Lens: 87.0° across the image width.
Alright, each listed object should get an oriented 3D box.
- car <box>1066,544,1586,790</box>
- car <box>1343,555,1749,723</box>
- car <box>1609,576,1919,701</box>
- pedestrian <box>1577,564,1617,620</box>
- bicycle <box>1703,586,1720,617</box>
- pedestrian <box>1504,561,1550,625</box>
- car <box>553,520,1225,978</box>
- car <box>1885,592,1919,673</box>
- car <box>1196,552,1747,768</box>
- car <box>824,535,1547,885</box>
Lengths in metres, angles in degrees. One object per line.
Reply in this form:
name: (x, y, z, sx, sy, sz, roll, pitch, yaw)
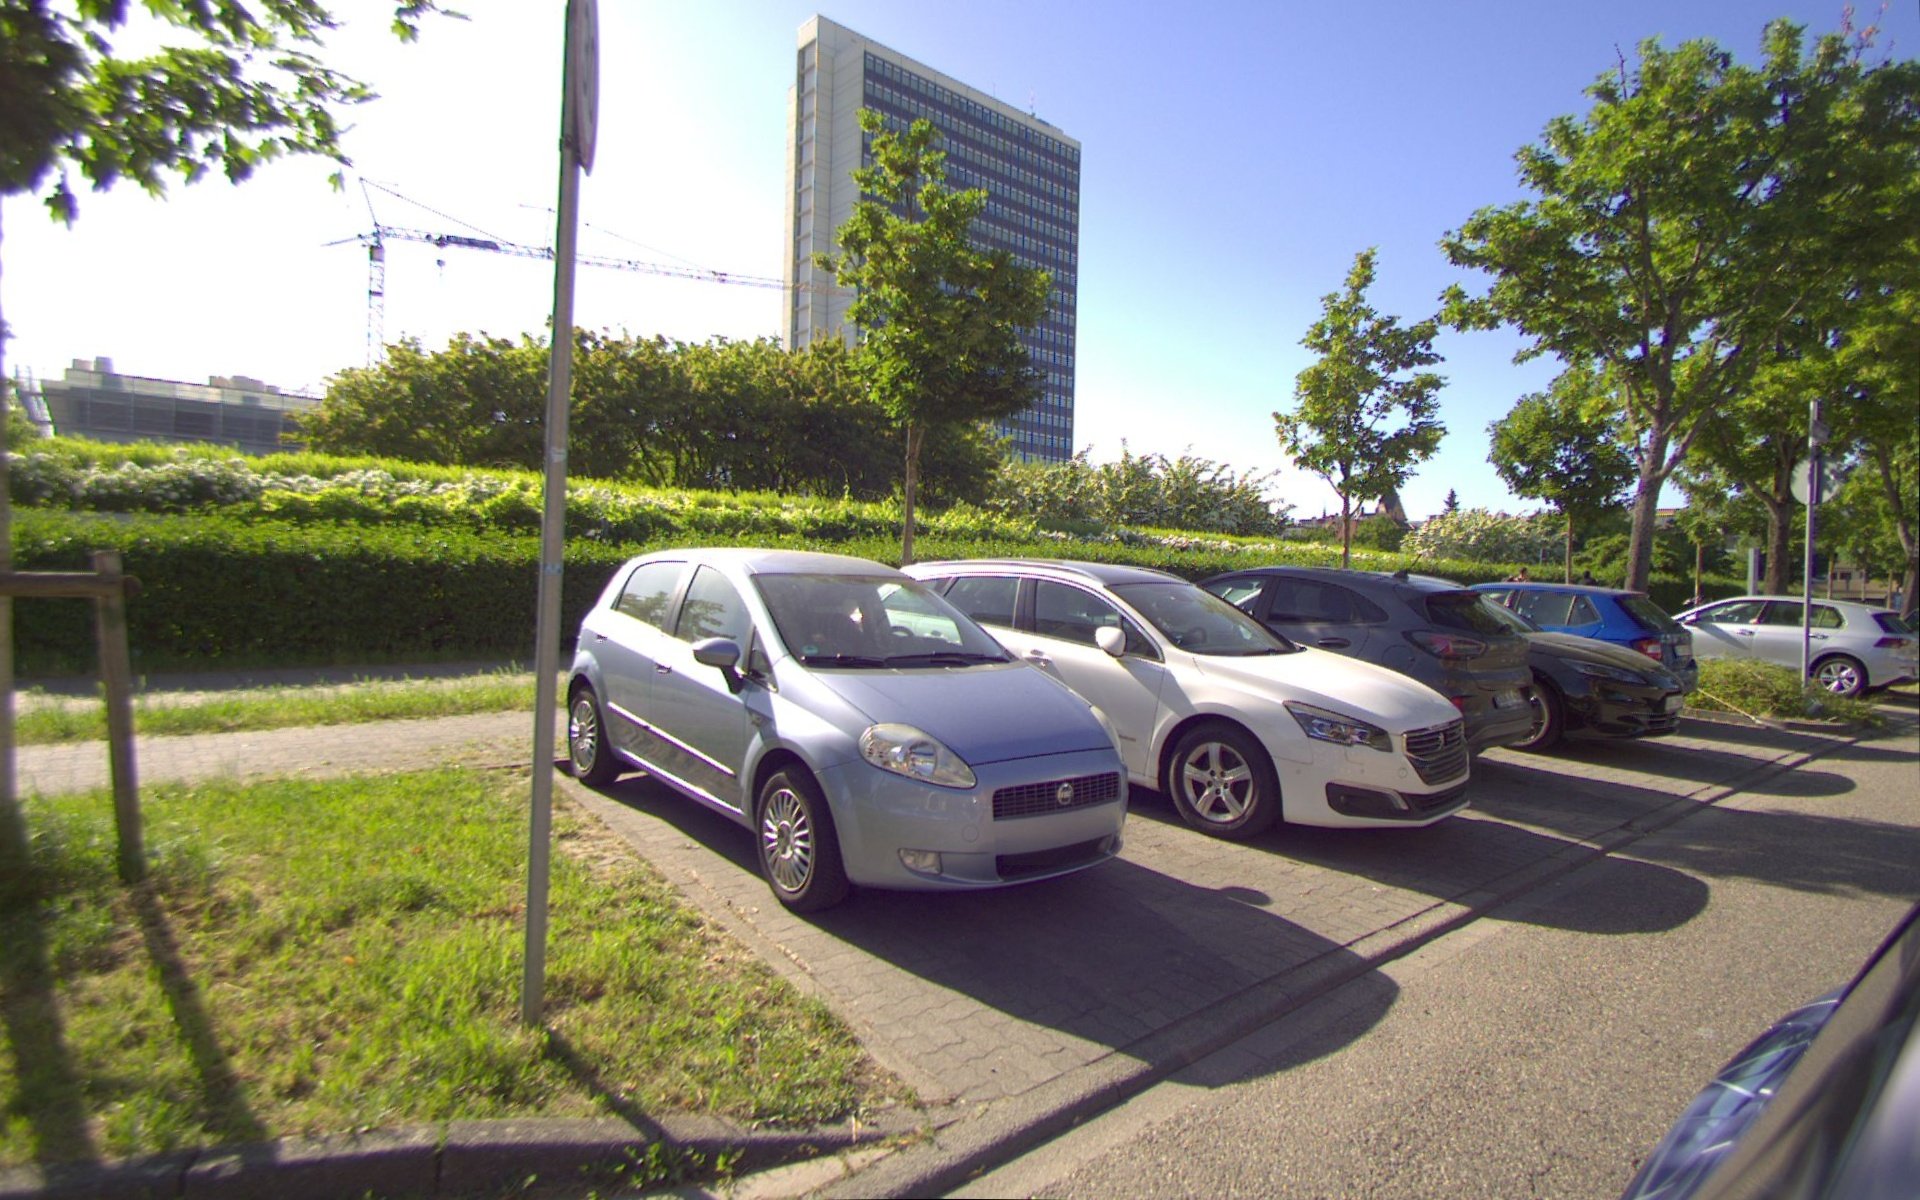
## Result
car: (2.941, 0.360, 8.826, 1.720, 1.533, 3.886, -1, 5, -40)
car: (6.892, 0.322, 12.250, 1.713, 1.465, 3.818, 0, 6, -38)
car: (13.220, 0.502, 16.464, 1.611, 1.446, 4.108, 0, 6, -33)
pedestrian: (18.839, -0.249, 29.910, 0.837, 1.607, 0.725, 0, 2, -39)
bicycle: (22.140, 0.039, 29.819, 0.345, 0.877, 1.390, 3, 3, 37)
pedestrian: (13.989, -0.175, 24.974, 0.919, 1.561, 0.609, 0, 2, -35)
car: (-0.733, 0.390, 5.542, 1.671, 1.533, 3.959, -1, 5, -39)
car: (20.433, 0.659, 20.422, 4.539, 1.511, 1.815, 0, 4, -38)
car: (4.981, 0.384, 10.450, 2.120, 1.533, 4.562, -1, 5, -40)
car: (1.254, 0.405, 7.071, 4.552, 1.533, 1.951, 6, 5, 44)
